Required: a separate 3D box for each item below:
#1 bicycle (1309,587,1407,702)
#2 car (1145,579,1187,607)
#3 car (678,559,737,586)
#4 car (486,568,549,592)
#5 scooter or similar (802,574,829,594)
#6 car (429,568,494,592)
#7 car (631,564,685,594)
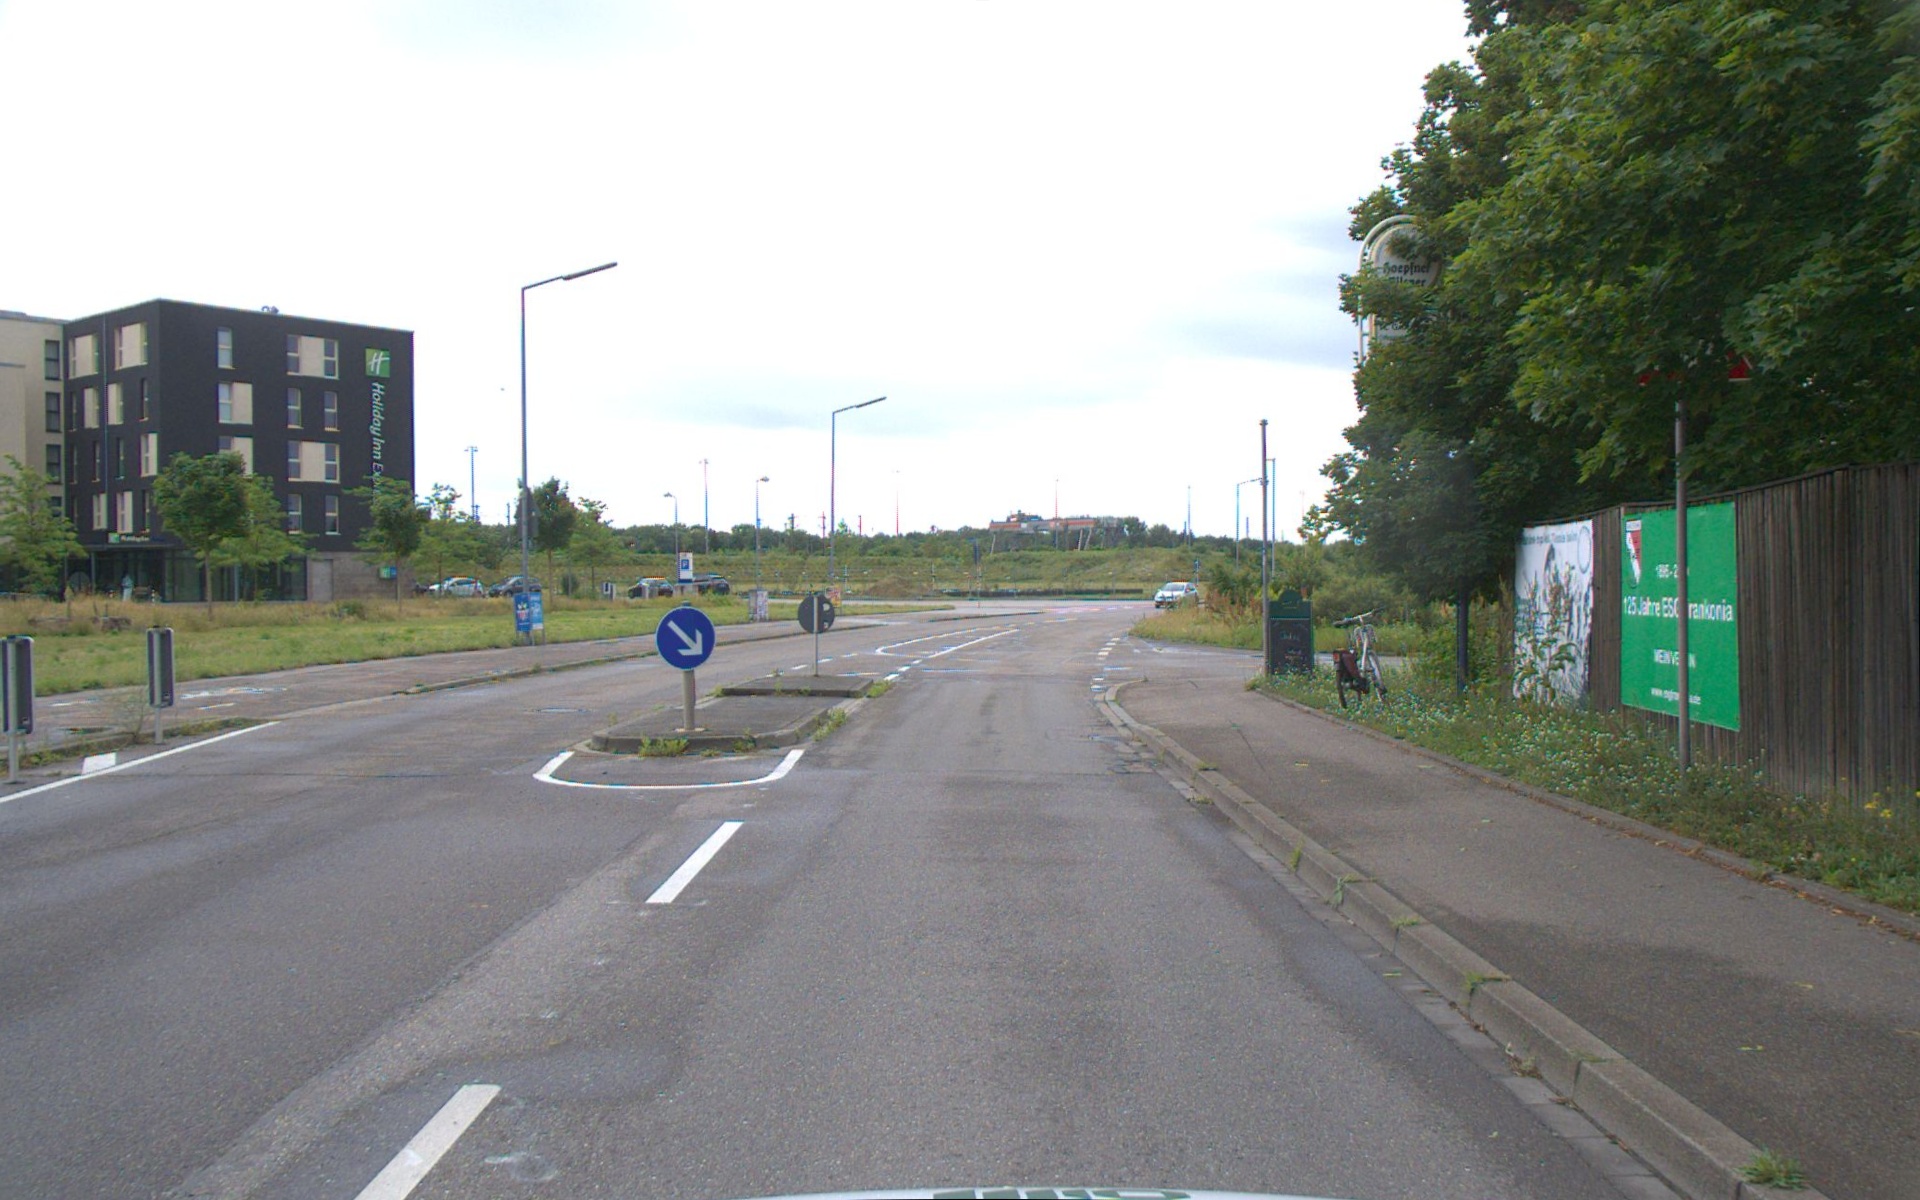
[{"bbox_3d":[4.338,0.452,17.936,0.779,1.130,1.952,-1,1,21],"label":"bicycle"},{"bbox_3d":[12.101,-0.420,97.004,1.637,1.487,4.059,1,2,18],"label":"car"},{"bbox_3d":[-17.621,-1.928,115.589,3.927,1.854,1.990,1,3,41],"label":"car"},{"bbox_3d":[-29.950,-1.382,112.038,1.665,1.467,3.983,0,3,37],"label":"car"},{"bbox_3d":[-8.381,-0.933,95.859,1.431,1.188,0.572,0,1,14],"label":"scooter or similar"},{"bbox_3d":[-35.243,-1.413,117.050,1.957,1.543,4.145,0,2,31],"label":"car"},{"bbox_3d":[-21.850,-1.532,119.725,1.986,2.048,3.934,-3,3,-45],"label":"car"}]
